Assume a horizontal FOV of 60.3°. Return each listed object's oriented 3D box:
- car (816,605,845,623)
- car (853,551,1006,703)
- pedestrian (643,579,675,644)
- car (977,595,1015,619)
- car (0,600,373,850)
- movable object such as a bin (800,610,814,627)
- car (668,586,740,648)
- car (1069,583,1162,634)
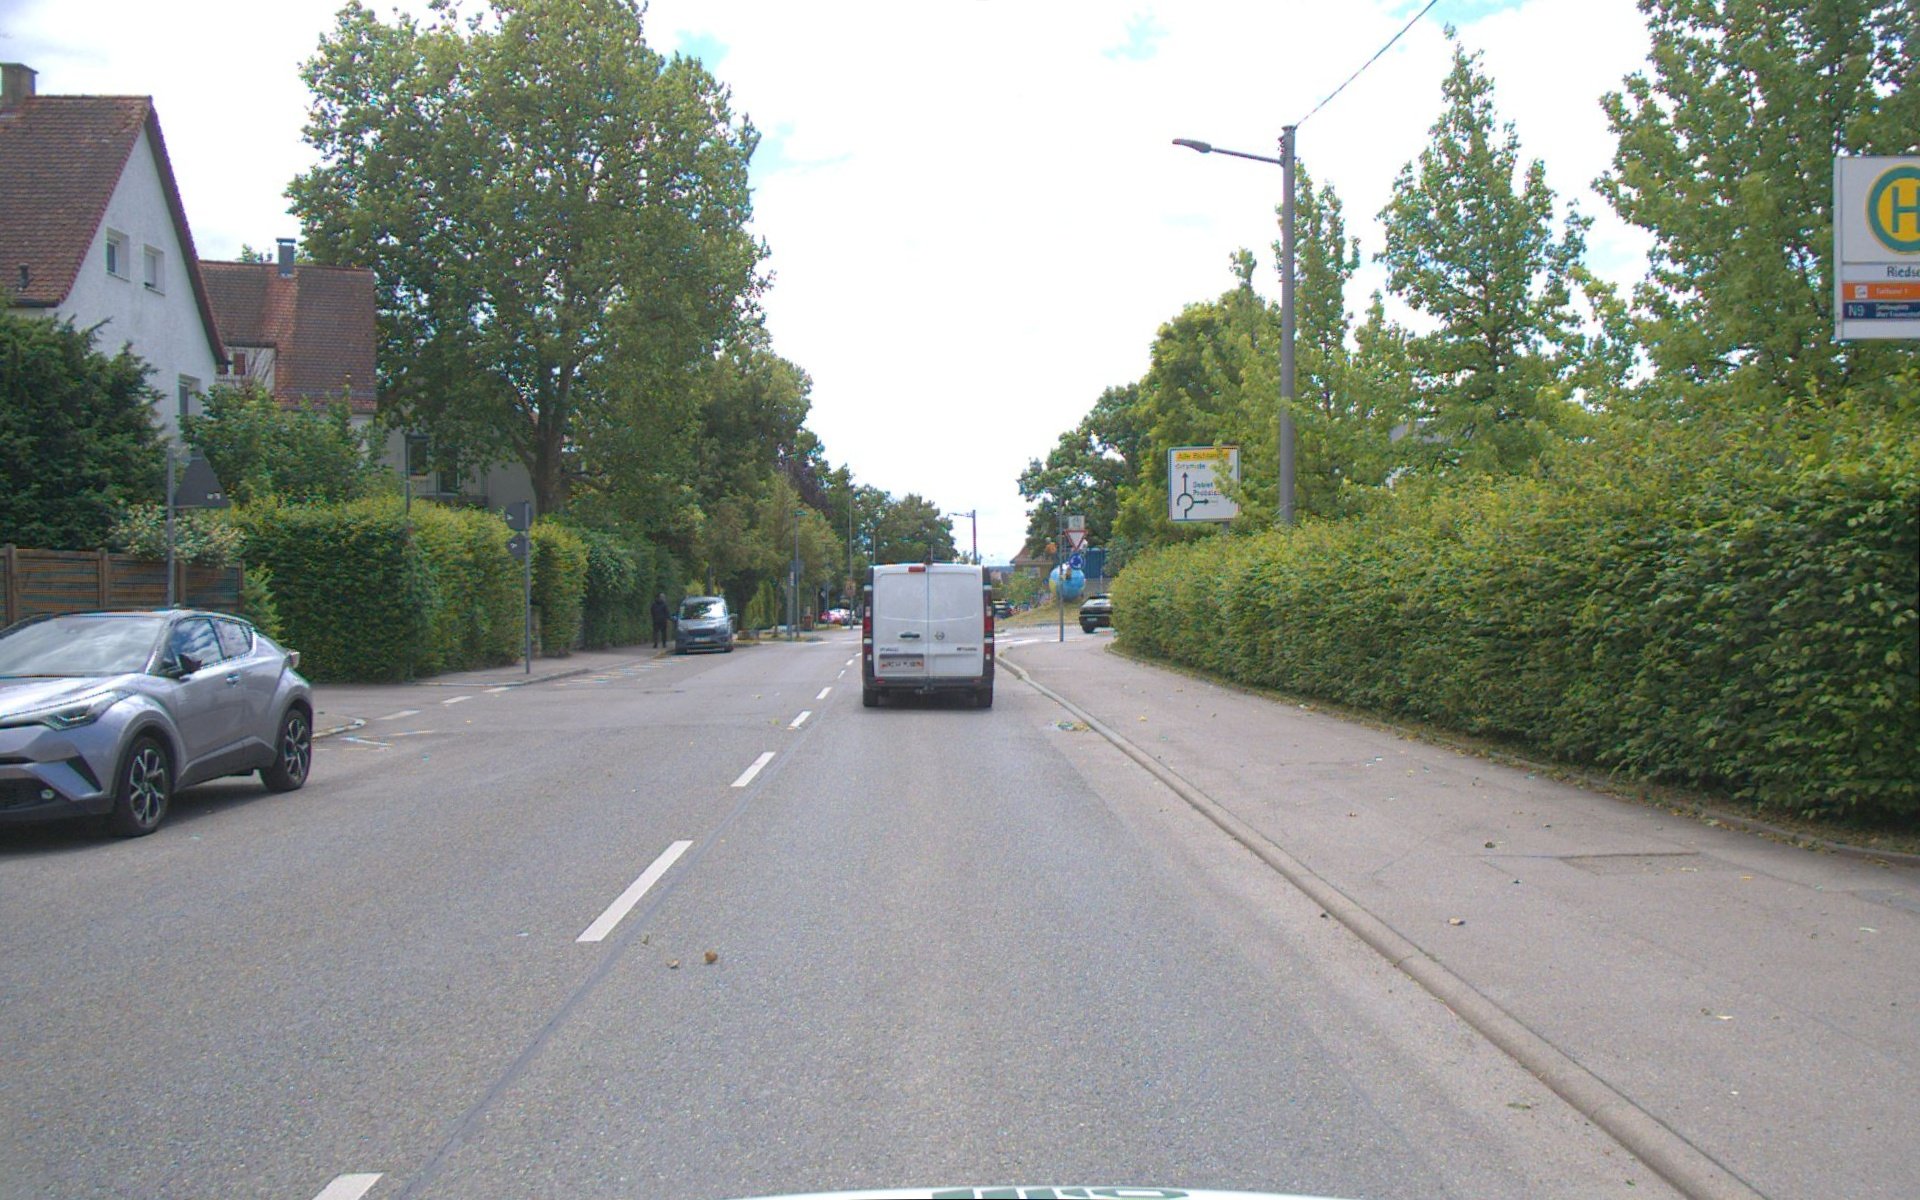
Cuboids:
[{"bbox_3d":[-11.077,1.146,140.945,2.026,1.410,4.037,-1,1,-11],"label":"car"},{"bbox_3d":[-0.443,0.333,24.454,1.993,1.979,4.992,1,0,-1],"label":"car"},{"bbox_3d":[-9.687,0.376,53.321,0.855,2.049,1.039,-2,0,-6],"label":"pedestrian"},{"bbox_3d":[2.485,0.496,115.114,1.897,1.564,3.916,-1,1,-10],"label":"car"},{"bbox_3d":[-6.343,0.796,12.581,1.952,1.505,4.648,-2,0,2],"label":"car"},{"bbox_3d":[-8.630,1.046,93.541,0.616,0.878,0.640,-2,0,9],"label":"movable object such as a bin"},{"bbox_3d":[-7.932,0.492,51.376,2.092,1.803,4.456,1,0,-8],"label":"car"},{"bbox_3d":[6.477,0.351,68.830,1.963,2.049,3.980,1,0,39],"label":"car"}]
